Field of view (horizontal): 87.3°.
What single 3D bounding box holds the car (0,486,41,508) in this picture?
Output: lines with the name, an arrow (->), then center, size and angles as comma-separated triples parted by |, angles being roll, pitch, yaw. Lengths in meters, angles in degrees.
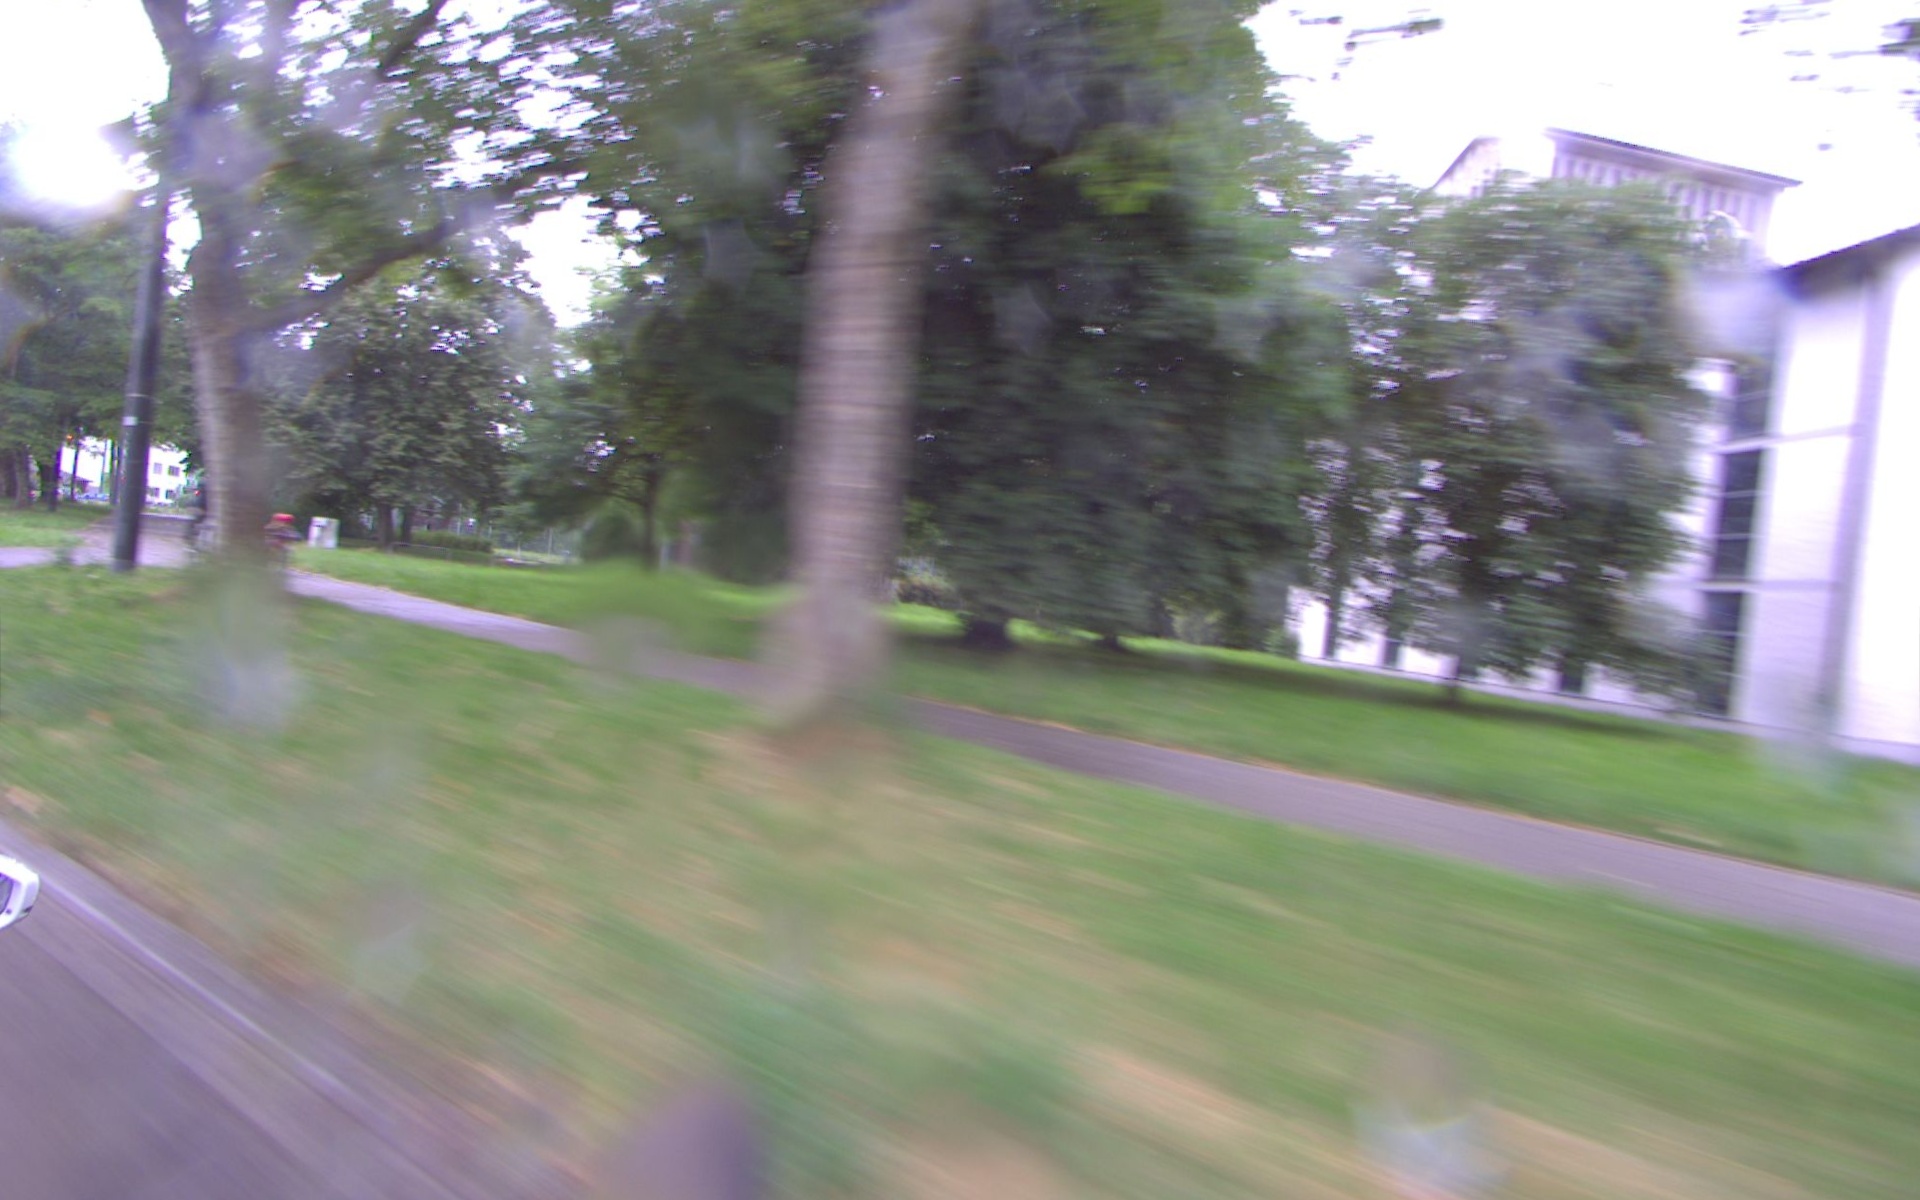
car -> -79.169, -8.666, 84.446 | 3.747, 1.438, 1.687 | 7, 1, 26

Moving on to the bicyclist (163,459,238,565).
bicyclist -> -13.477, -1.552, 17.853 | 0.942, 1.743, 0.711 | 8, 2, 36

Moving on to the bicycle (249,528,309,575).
bicycle -> -12.785, -0.911, 18.881 | 1.436, 0.717, 0.486 | 8, 2, 38

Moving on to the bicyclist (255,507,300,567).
bicyclist -> -12.872, -1.190, 18.970 | 0.582, 1.052, 0.486 | 8, 2, 38

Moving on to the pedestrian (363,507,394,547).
pedestrian -> -26.648, -3.343, 46.105 | 1.022, 1.716, 0.849 | 6, 1, -26

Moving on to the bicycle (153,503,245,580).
bicycle -> -13.553, -1.053, 17.897 | 1.941, 1.157, 0.711 | 8, 2, 36
